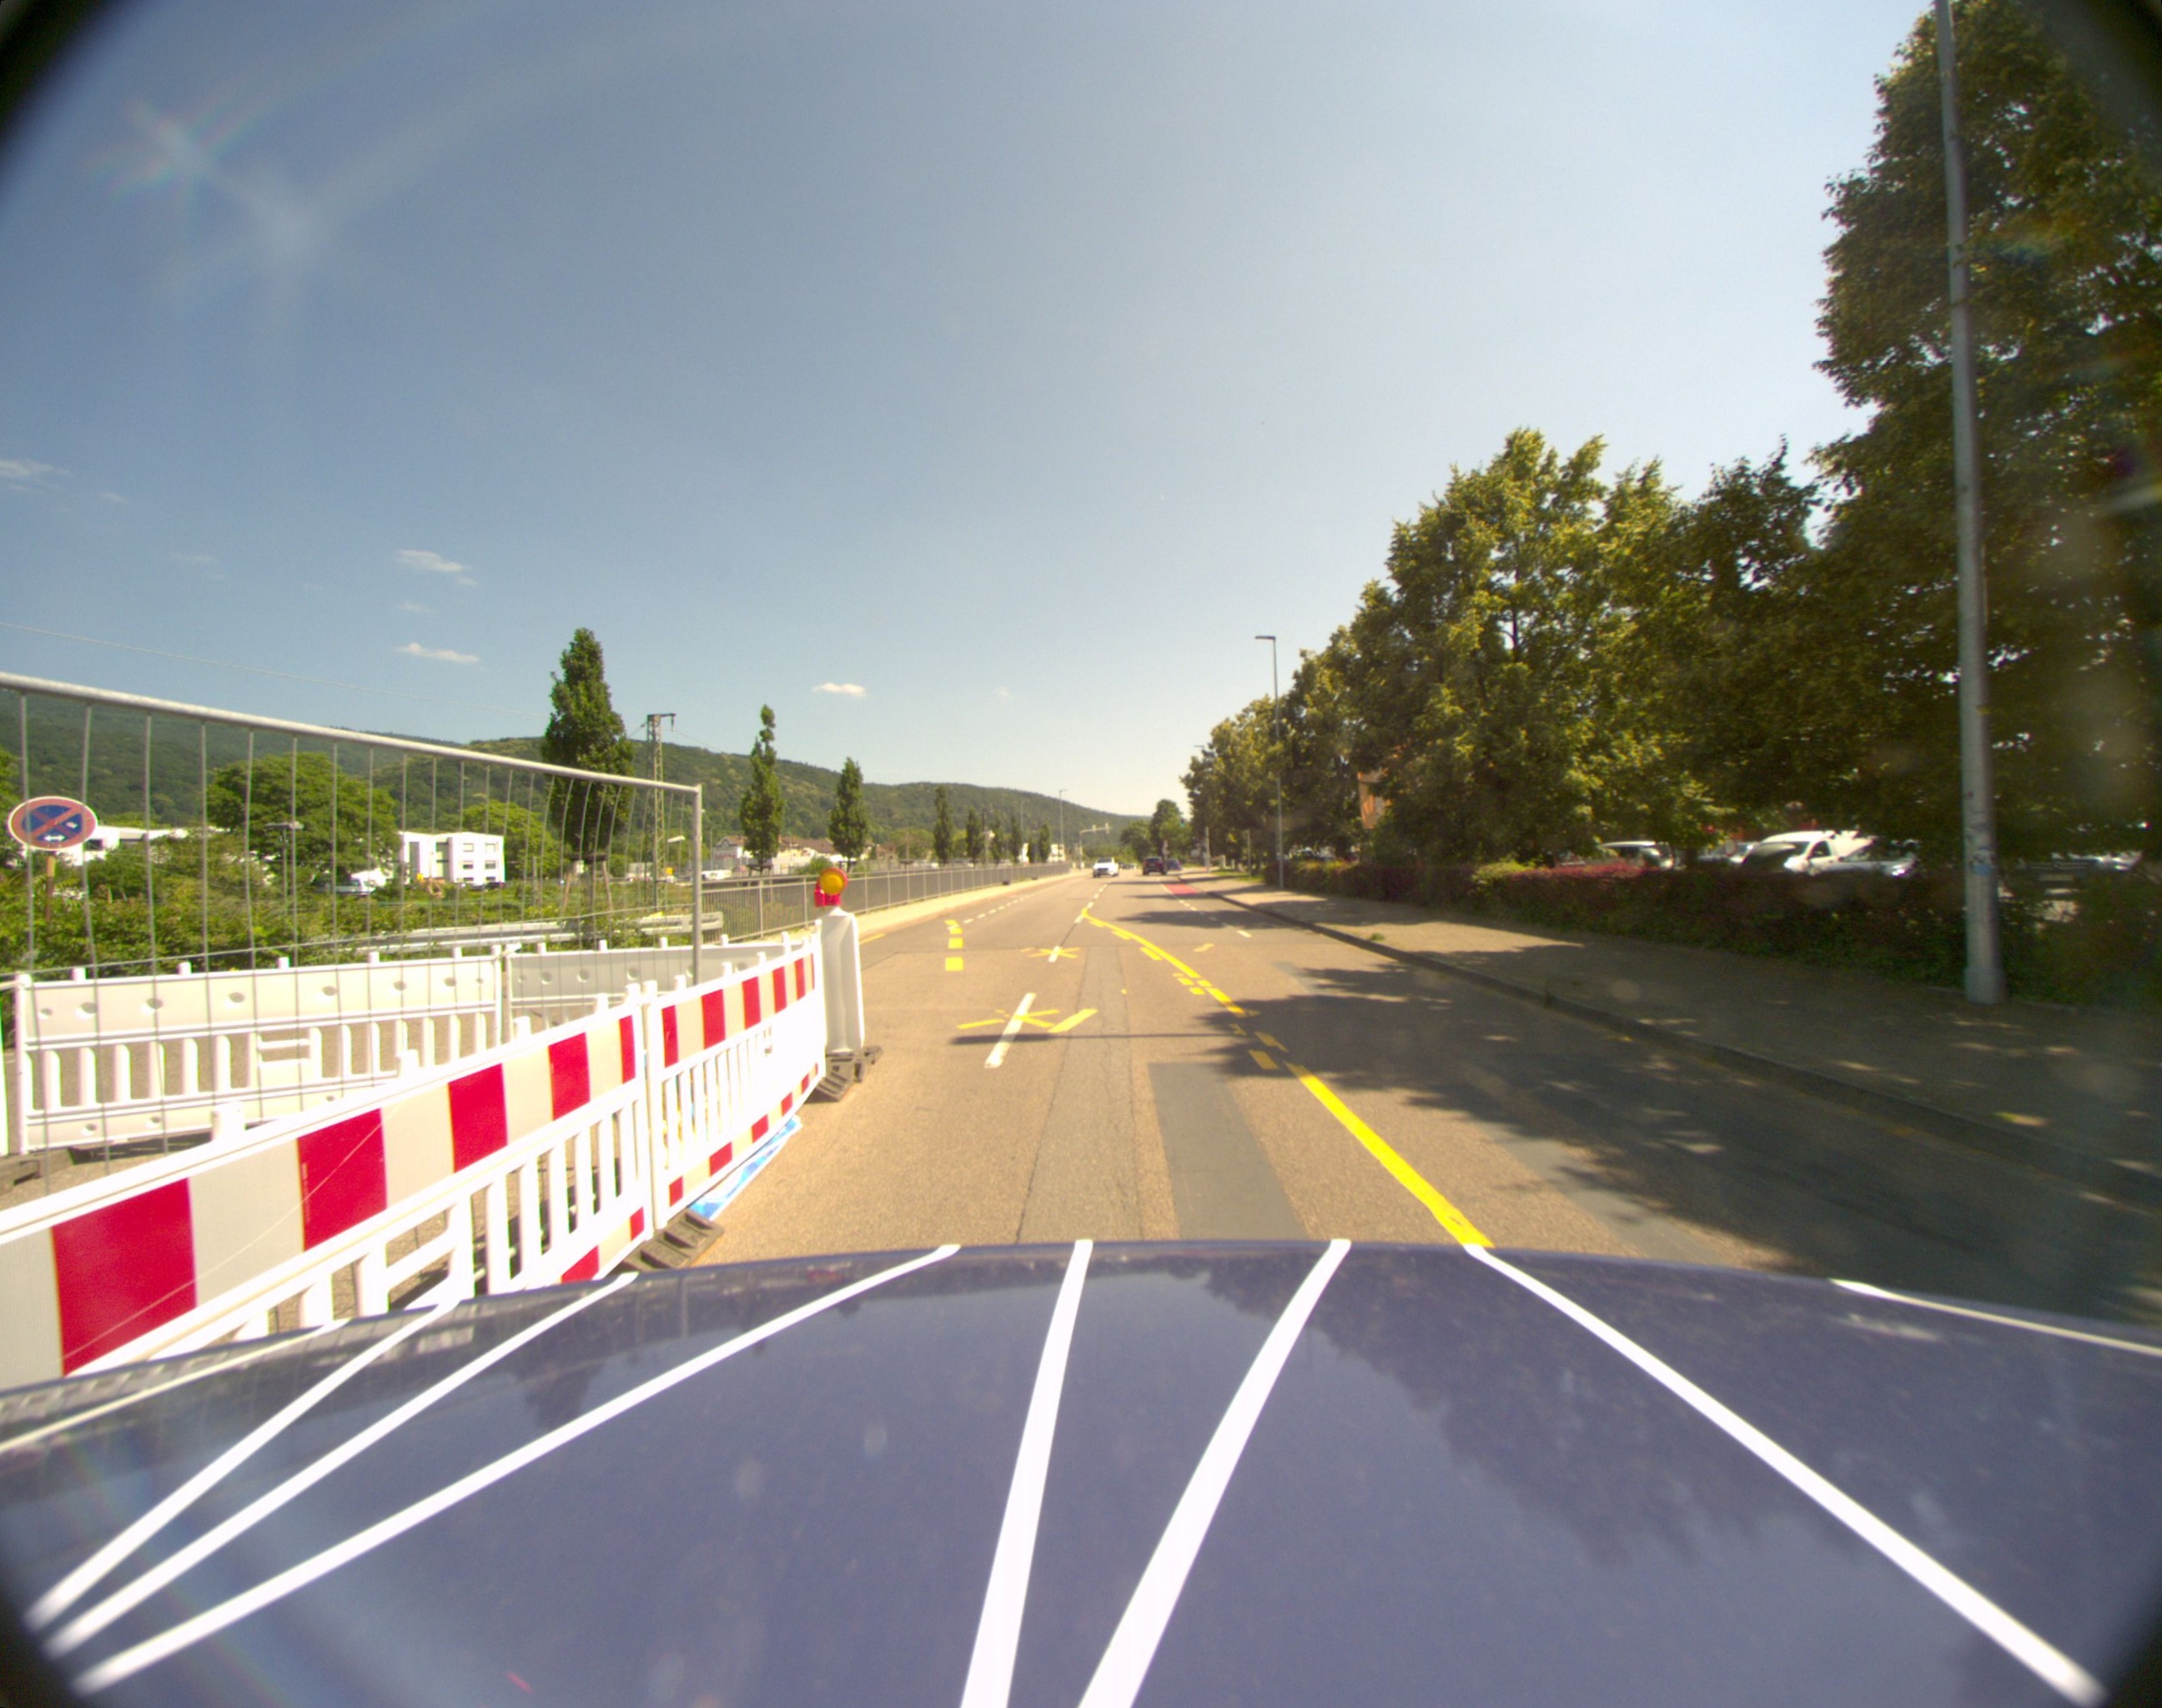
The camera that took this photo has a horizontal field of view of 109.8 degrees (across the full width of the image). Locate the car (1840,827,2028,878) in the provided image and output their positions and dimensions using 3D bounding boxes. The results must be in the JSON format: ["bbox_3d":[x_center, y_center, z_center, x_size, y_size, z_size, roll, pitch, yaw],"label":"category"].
[{"bbox_3d":[32.370,-0.044,29.044,1.863,1.676,4.362,-4,1,-13],"label":"car"}]

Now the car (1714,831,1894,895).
[{"bbox_3d":[21.142,0.234,22.260,4.315,1.676,1.860,-2,0,-15],"label":"car"}]

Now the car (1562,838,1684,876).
[{"bbox_3d":[24.029,0.151,33.888,1.922,1.543,4.137,-2,0,-15],"label":"car"}]

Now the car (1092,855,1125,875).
[{"bbox_3d":[2.440,0.945,66.376,1.997,1.635,5.036,-1,0,12],"label":"car"}]

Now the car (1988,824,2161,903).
[{"bbox_3d":[24.154,0.180,17.986,4.370,1.676,1.860,-2,0,-16],"label":"car"}]

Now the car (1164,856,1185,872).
[{"bbox_3d":[10.265,1.082,83.989,1.998,1.635,4.529,-1,0,3],"label":"car"}]

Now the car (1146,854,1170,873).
[{"bbox_3d":[6.973,0.837,68.392,1.997,1.635,4.530,-1,0,7],"label":"car"}]
